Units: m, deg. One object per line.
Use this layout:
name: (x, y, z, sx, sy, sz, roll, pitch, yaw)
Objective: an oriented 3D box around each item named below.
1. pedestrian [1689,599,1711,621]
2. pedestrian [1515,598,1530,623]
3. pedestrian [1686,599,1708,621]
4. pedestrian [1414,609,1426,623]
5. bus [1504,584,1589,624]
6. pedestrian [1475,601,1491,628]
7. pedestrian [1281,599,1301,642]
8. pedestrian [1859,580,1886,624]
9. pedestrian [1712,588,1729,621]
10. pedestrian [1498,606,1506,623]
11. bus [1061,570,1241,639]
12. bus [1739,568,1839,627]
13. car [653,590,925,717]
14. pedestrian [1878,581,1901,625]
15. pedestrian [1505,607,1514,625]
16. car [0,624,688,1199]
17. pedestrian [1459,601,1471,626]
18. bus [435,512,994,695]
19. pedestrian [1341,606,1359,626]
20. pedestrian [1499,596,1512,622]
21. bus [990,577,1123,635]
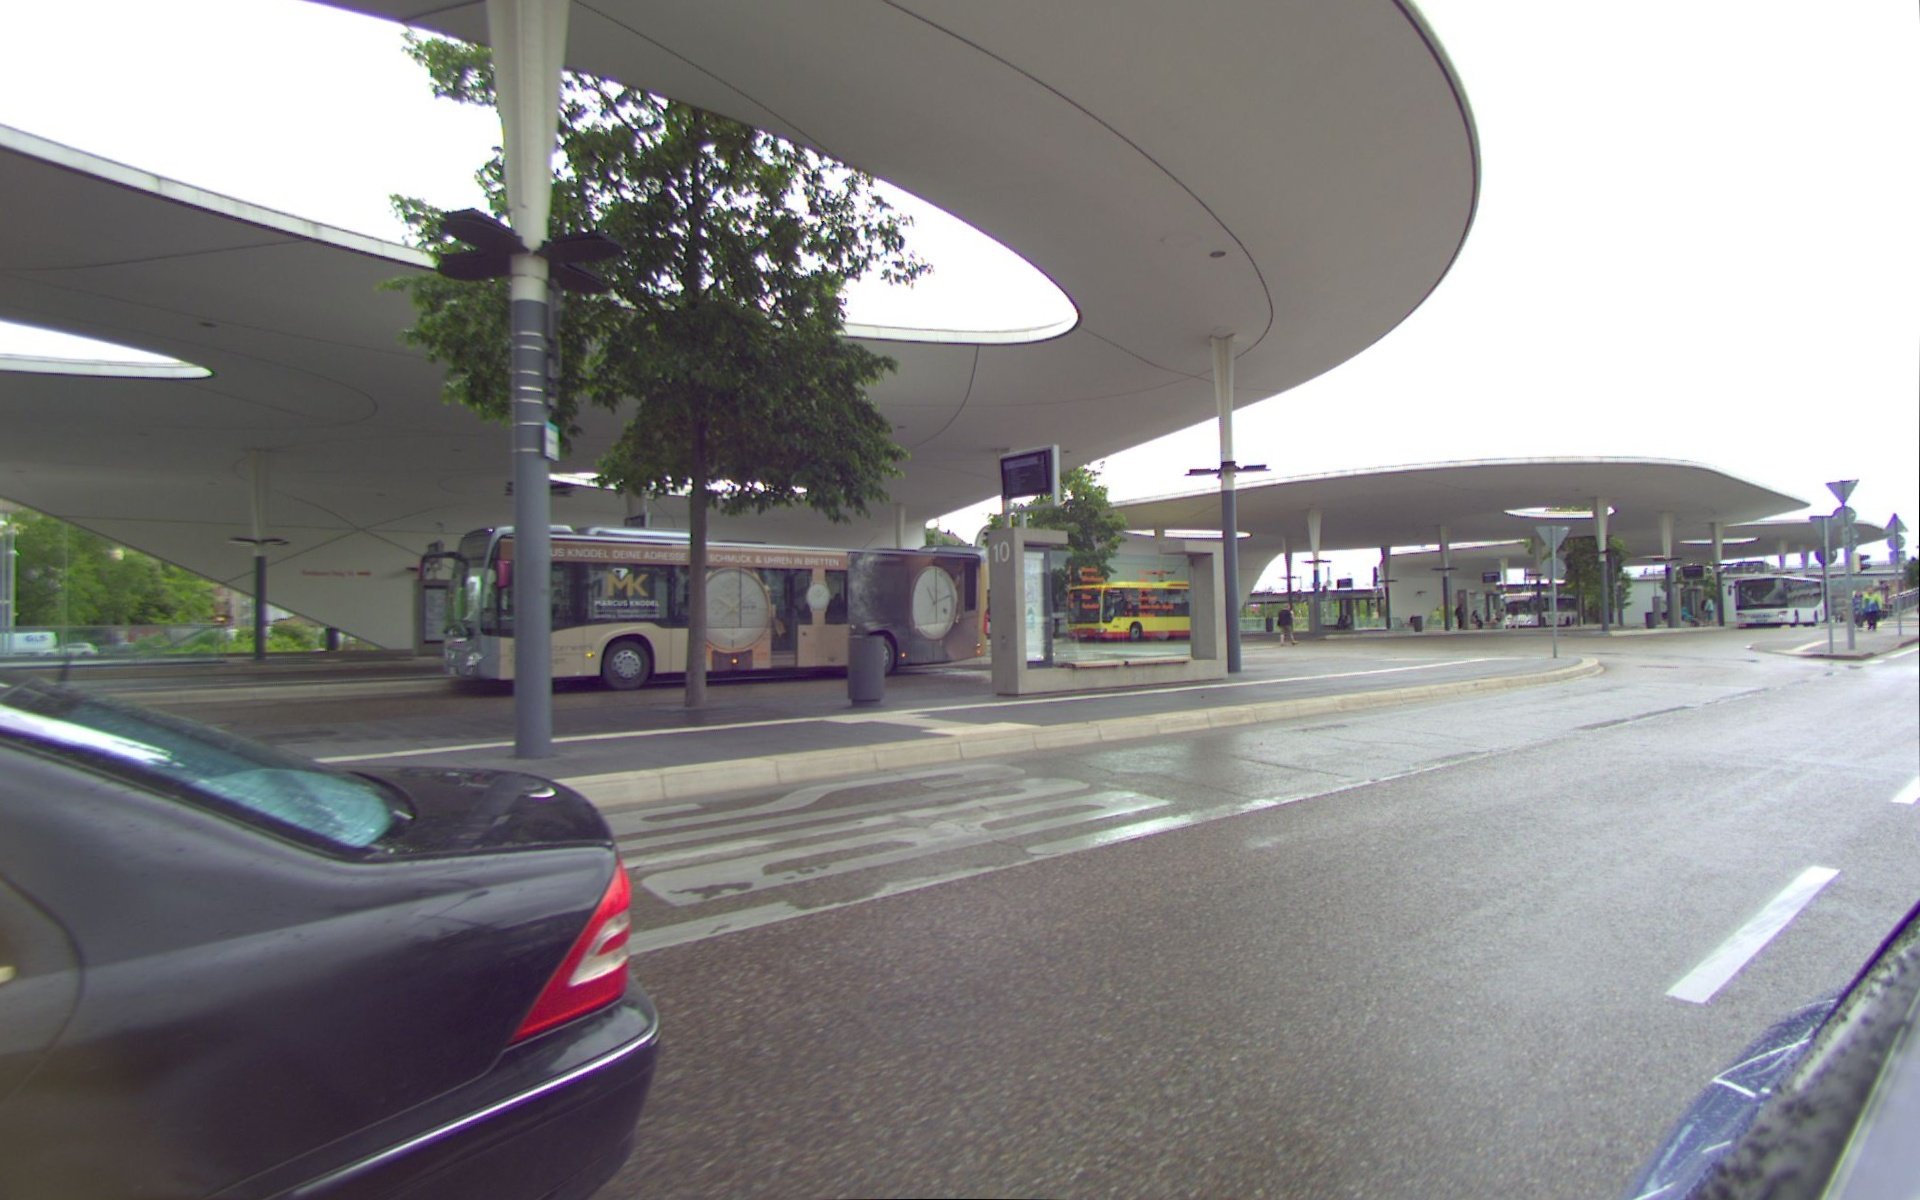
pedestrian: (43.575, 0.602, 59.599, 0.943, 1.271, 0.643, 2, -1, 27)
pedestrian: (37.291, 0.680, 67.075, 0.632, 1.676, 0.638, -1, -1, 10)
pedestrian: (43.880, 0.614, 60.237, 0.943, 1.271, 0.643, 2, -1, 27)
pedestrian: (46.793, 1.626, 102.944, 0.698, 1.341, 0.801, -4, -2, -35)
bus: (52.683, 0.294, 90.663, 11.929, 3.299, 2.792, -1, -1, -41)
pedestrian: (33.212, 0.929, 64.271, 0.667, 1.610, 0.588, -4, -2, -44)
pedestrian: (13.563, 0.818, 41.458, 0.712, 1.705, 1.013, 0, 0, 24)
pedestrian: (36.371, 0.089, 40.341, 0.571, 1.691, 0.590, -5, -1, -41)
pedestrian: (44.564, 0.256, 59.310, 0.636, 1.911, 0.587, 2, -1, -30)
pedestrian: (35.103, 0.905, 65.537, 0.345, 1.095, 0.392, -1, -1, 1)
bus: (10.507, 0.140, 54.220, 11.935, 3.298, 2.791, -2, 0, -42)
bus: (52.286, -0.173, 63.629, 12.208, 3.404, 2.850, 0, 1, -41)
car: (-2.204, 0.642, 13.409, 3.182, 1.472, 1.649, 0, -2, -42)
pedestrian: (36.666, 0.124, 39.903, 0.570, 1.691, 0.523, -3, -1, -41)
pedestrian: (35.508, 1.054, 65.369, 0.357, 1.160, 0.395, -1, -1, 1)
car: (-2.684, 0.773, 1.208, 4.228, 1.481, 1.700, 2, -1, -42)
pedestrian: (31.505, 0.829, 63.121, 0.513, 1.521, 0.381, -1, -1, 10)
bus: (-4.548, 0.045, 21.950, 11.876, 3.082, 2.726, 0, 0, -41)
pedestrian: (27.798, 1.127, 72.115, 0.786, 1.341, 0.711, -5, -2, -33)
pedestrian: (36.056, 0.578, 66.862, 0.546, 1.676, 0.571, 0, -1, -34)
bus: (6.251, 0.354, 63.996, 9.688, 3.443, 2.518, 0, -1, -42)
